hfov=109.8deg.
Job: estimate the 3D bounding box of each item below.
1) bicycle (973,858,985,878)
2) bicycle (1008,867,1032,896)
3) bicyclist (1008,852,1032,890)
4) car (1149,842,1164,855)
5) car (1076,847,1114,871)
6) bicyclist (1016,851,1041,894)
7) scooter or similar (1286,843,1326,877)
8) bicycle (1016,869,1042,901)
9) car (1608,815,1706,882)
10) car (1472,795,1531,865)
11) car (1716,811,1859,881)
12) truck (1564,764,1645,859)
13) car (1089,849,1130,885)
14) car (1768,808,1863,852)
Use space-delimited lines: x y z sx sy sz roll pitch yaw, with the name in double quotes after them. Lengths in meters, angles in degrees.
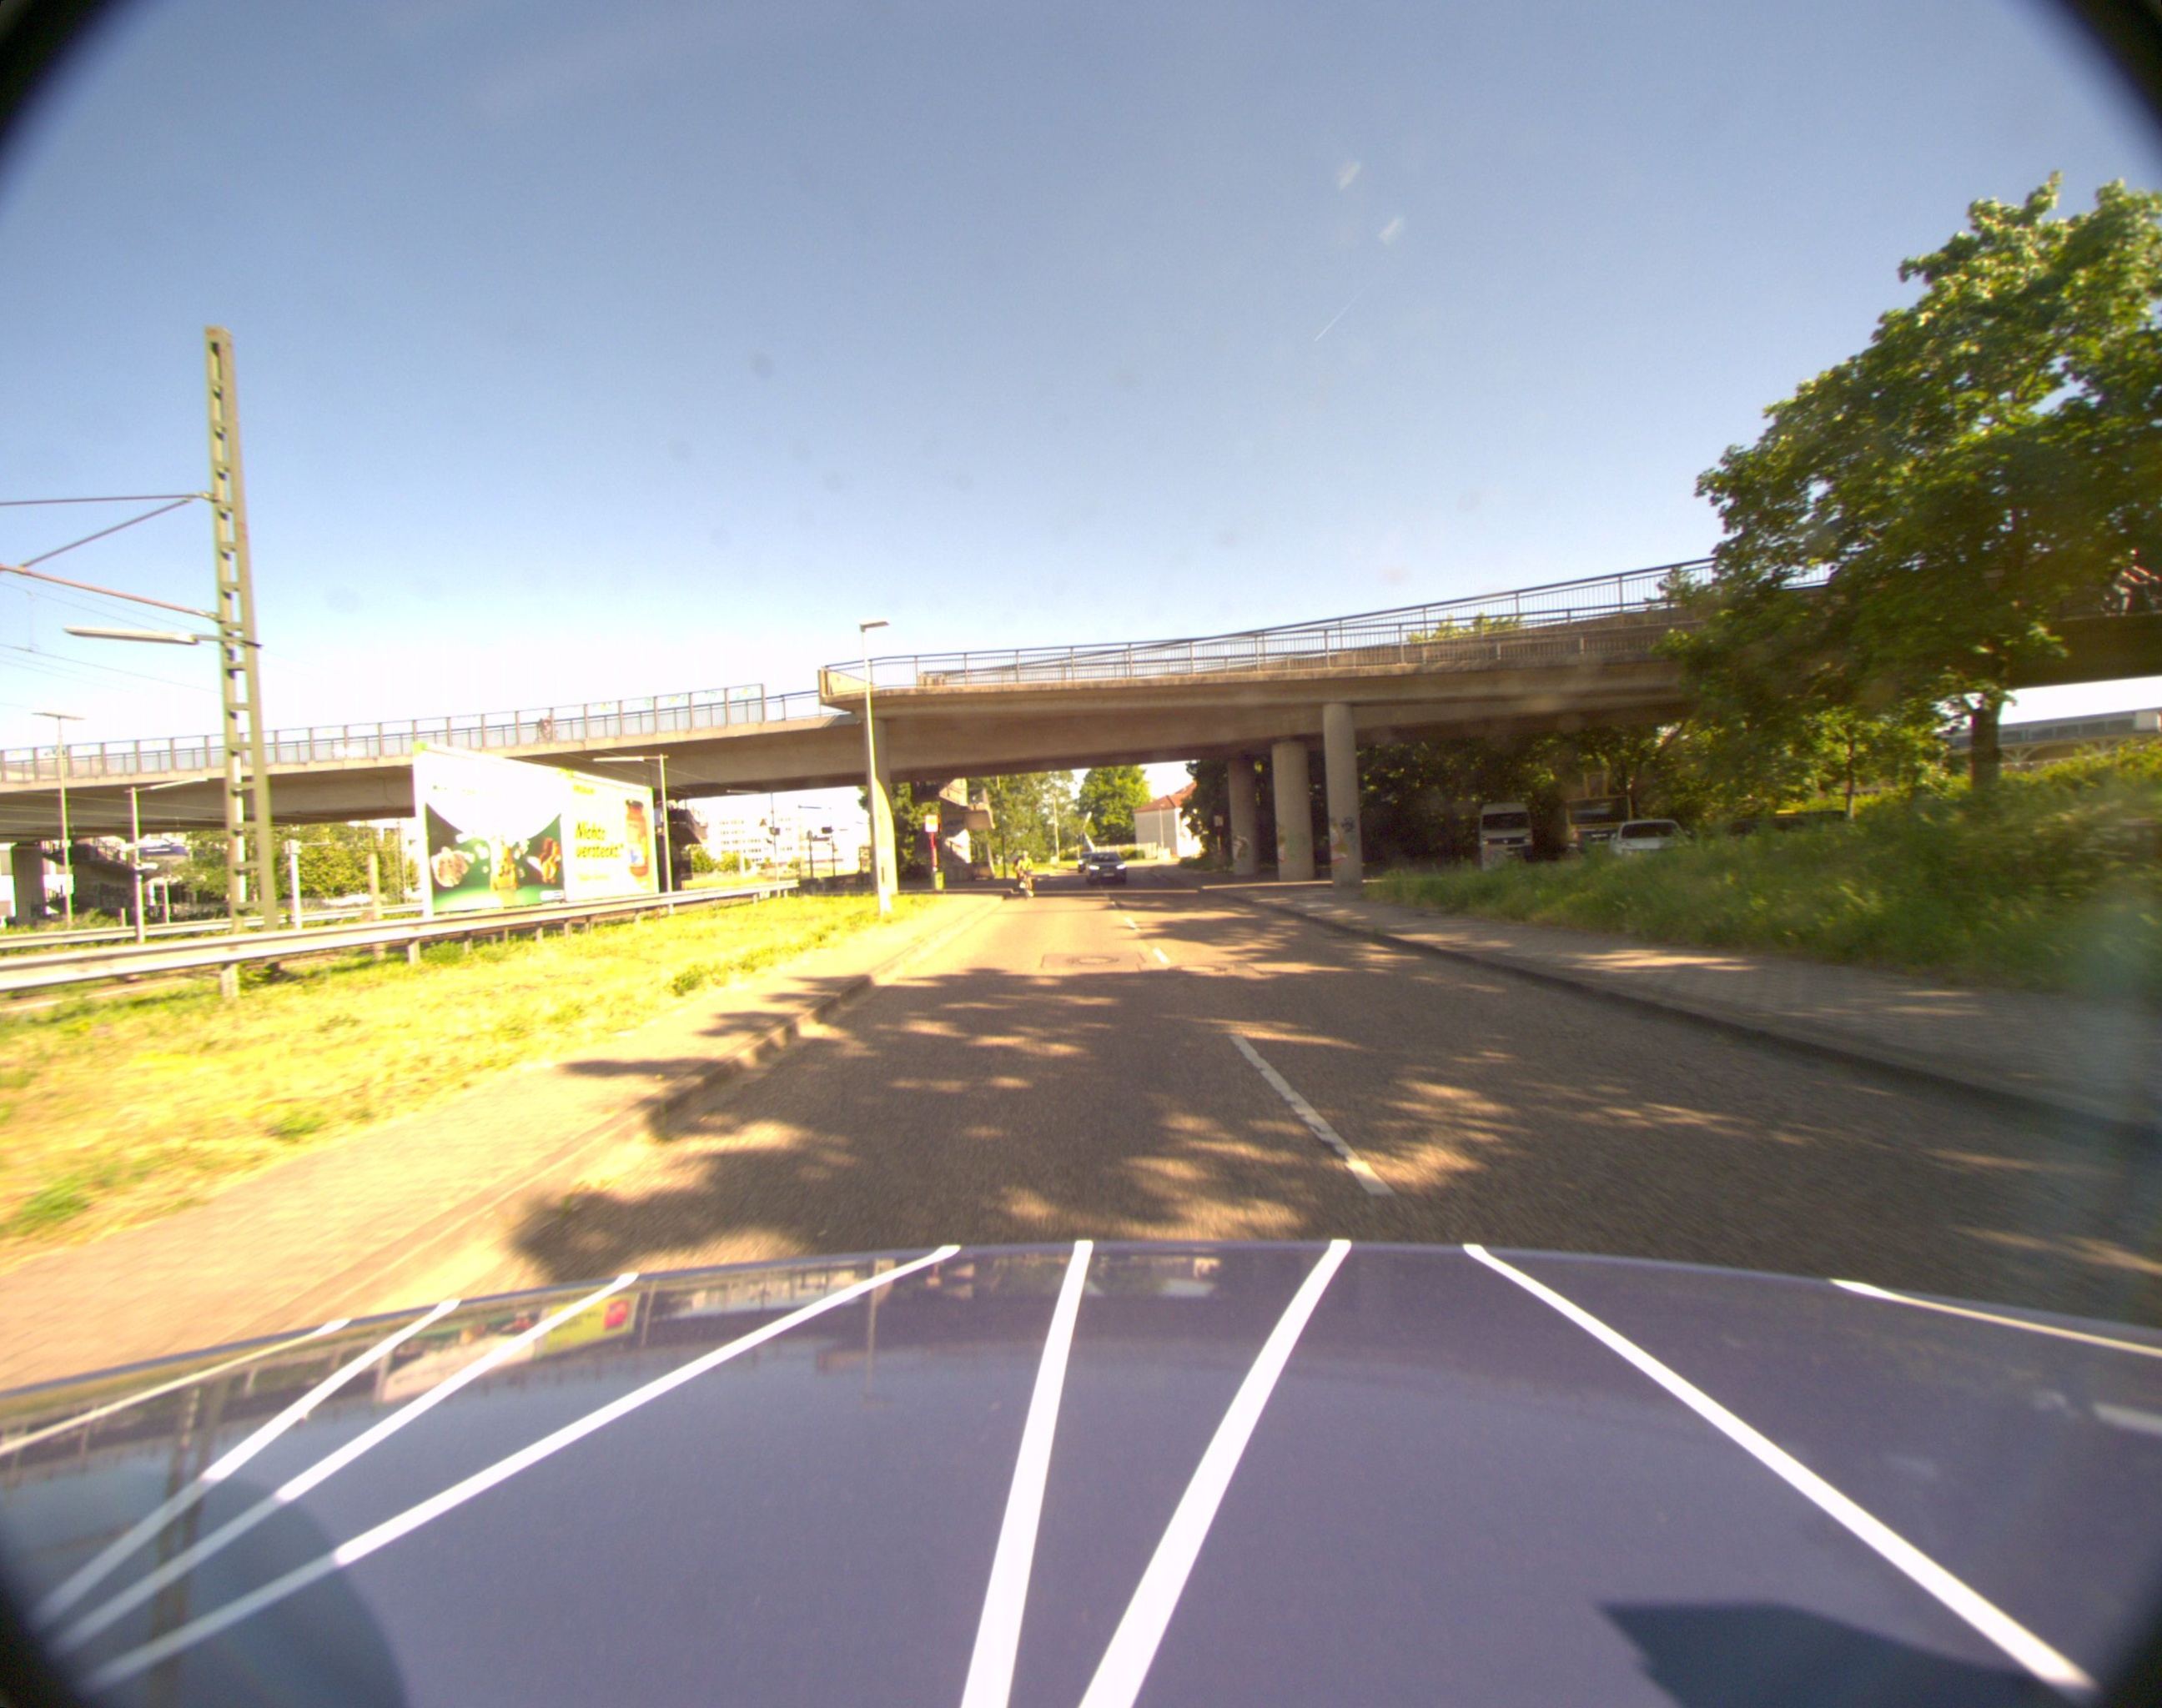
-6.198 0.841 46.076 0.599 1.175 2.180 -3 1 -6 "bicycle"
-2.454 1.080 30.881 0.843 1.045 2.189 -3 1 -3 "bicycle"
-2.475 0.689 30.975 0.843 1.480 0.923 -3 1 -3 "bicyclist"
10.969 -0.877 110.786 1.998 1.767 4.366 -3 1 5 "car"
1.083 0.323 57.604 1.848 1.621 4.299 -3 1 14 "car"
-1.905 0.663 27.662 0.843 1.480 0.923 -3 1 -4 "bicyclist"
8.863 0.236 29.931 1.305 1.293 0.580 -2 1 39 "scooter or similar"
-1.877 1.098 27.575 0.843 1.045 2.189 -3 1 -3 "bicycle"
15.765 -0.186 20.979 1.864 1.632 4.290 1 2 34 "car"
18.122 -0.989 32.804 1.942 2.665 6.020 -3 0 29 "car"
17.941 -0.240 19.513 1.679 1.543 4.305 -3 1 29 "car"
22.716 -1.760 32.969 2.476 3.531 7.982 -3 1 35 "truck"
1.404 0.622 38.571 1.850 1.621 4.295 -3 0 0 "car"
26.812 -0.890 27.882 1.736 1.434 4.258 -3 1 34 "car"
